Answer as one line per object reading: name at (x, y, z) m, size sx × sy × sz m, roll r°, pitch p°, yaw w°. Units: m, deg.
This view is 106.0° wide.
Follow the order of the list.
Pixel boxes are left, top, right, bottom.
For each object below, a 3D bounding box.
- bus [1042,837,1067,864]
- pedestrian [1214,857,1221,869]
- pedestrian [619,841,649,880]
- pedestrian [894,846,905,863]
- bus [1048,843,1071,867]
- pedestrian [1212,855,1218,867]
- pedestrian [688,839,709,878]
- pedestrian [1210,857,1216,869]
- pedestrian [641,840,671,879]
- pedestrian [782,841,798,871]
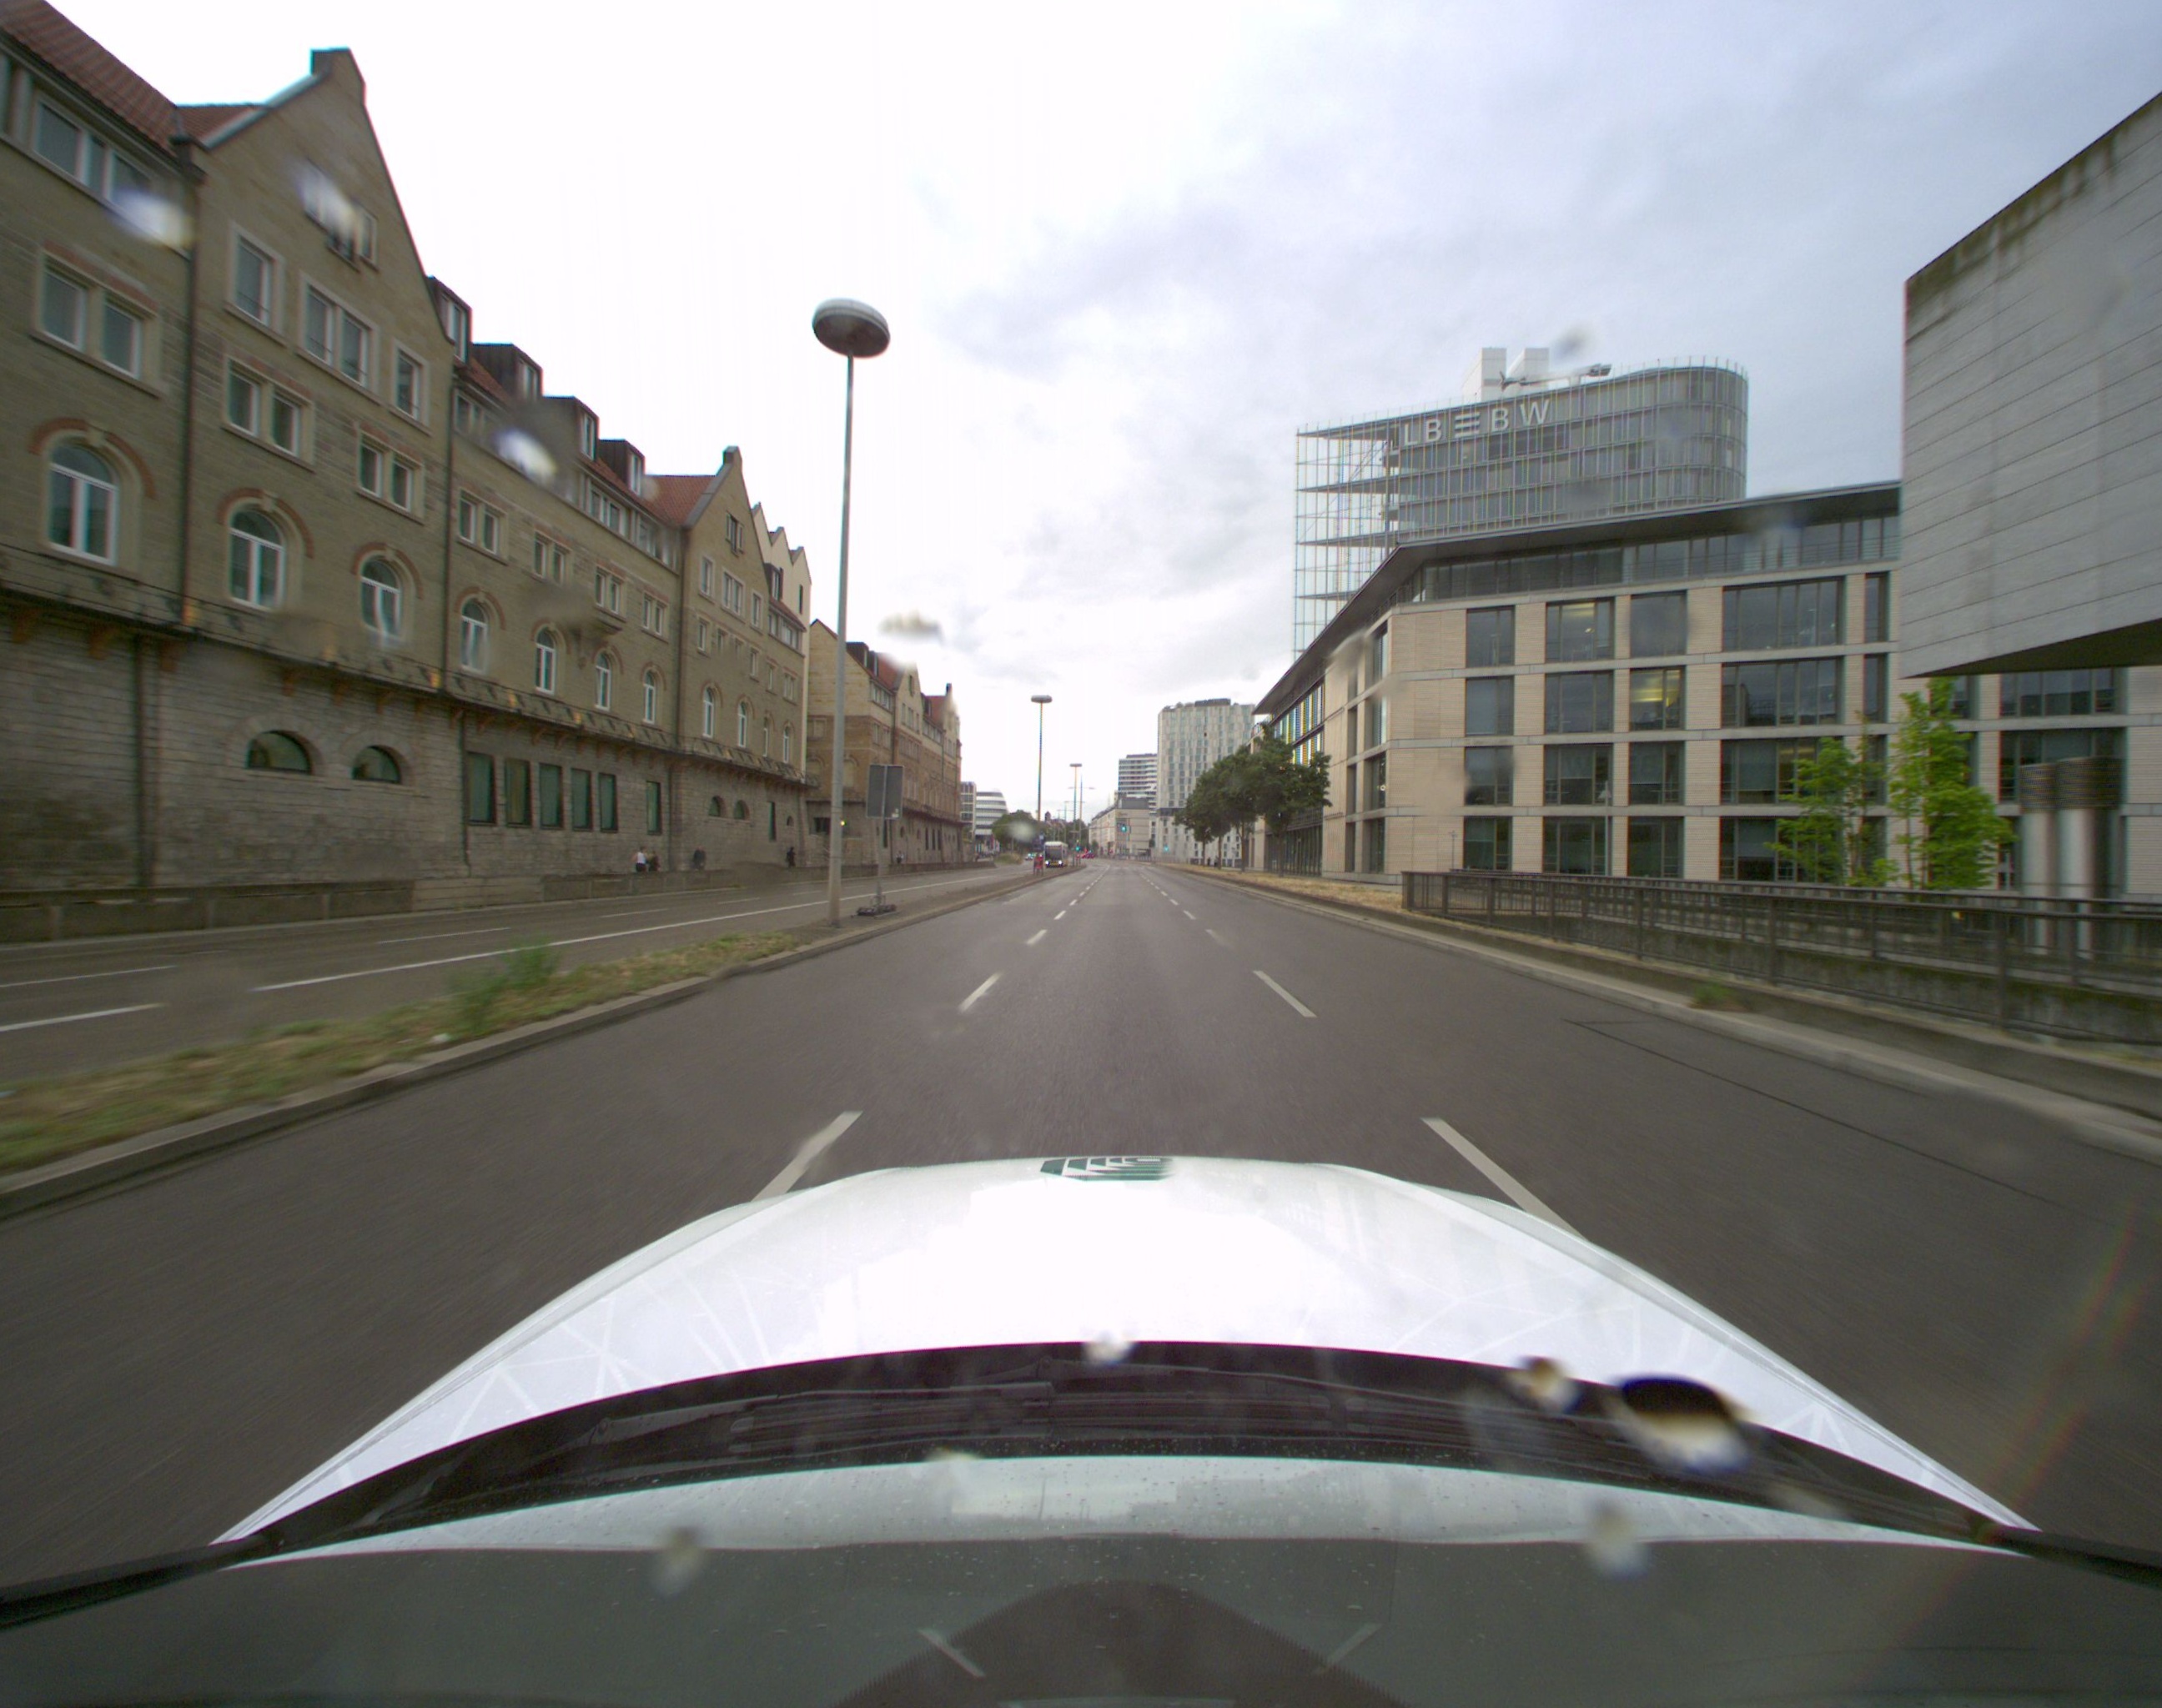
bus at (-3.500, -0.393, 111.435) m, size 2.688 × 3.559 × 10.097 m, roll 0°, pitch -1°, yaw 2°
pedestrian at (17.976, 1.174, 106.930) m, size 0.662 × 1.578 × 0.673 m, roll 1°, pitch 1°, yaw 40°
pedestrian at (-17.243, 0.232, 31.428) m, size 0.751 × 1.477 × 0.714 m, roll 0°, pitch 1°, yaw 2°
pedestrian at (-15.910, 0.049, 71.273) m, size 0.751 × 1.477 × 0.714 m, roll 0°, pitch 1°, yaw 2°
bus at (-3.134, 0.127, 122.049) m, size 2.688 × 3.559 × 10.099 m, roll 0°, pitch 0°, yaw 2°
pedestrian at (17.953, 0.944, 108.955) m, size 0.544 × 1.578 × 0.675 m, roll 0°, pitch 1°, yaw 37°
pedestrian at (-17.591, 0.193, 37.488) m, size 0.638 × 1.745 × 0.621 m, roll 0°, pitch 1°, yaw 0°
pedestrian at (17.276, 1.184, 106.479) m, size 0.544 × 1.578 × 0.675 m, roll 0°, pitch 1°, yaw 37°
pedestrian at (-16.462, 0.204, 31.564) m, size 0.751 × 1.477 × 0.714 m, roll 0°, pitch 1°, yaw 2°
pedestrian at (-17.145, 0.119, 47.991) m, size 0.638 × 1.745 × 0.621 m, roll 0°, pitch 1°, yaw 0°
